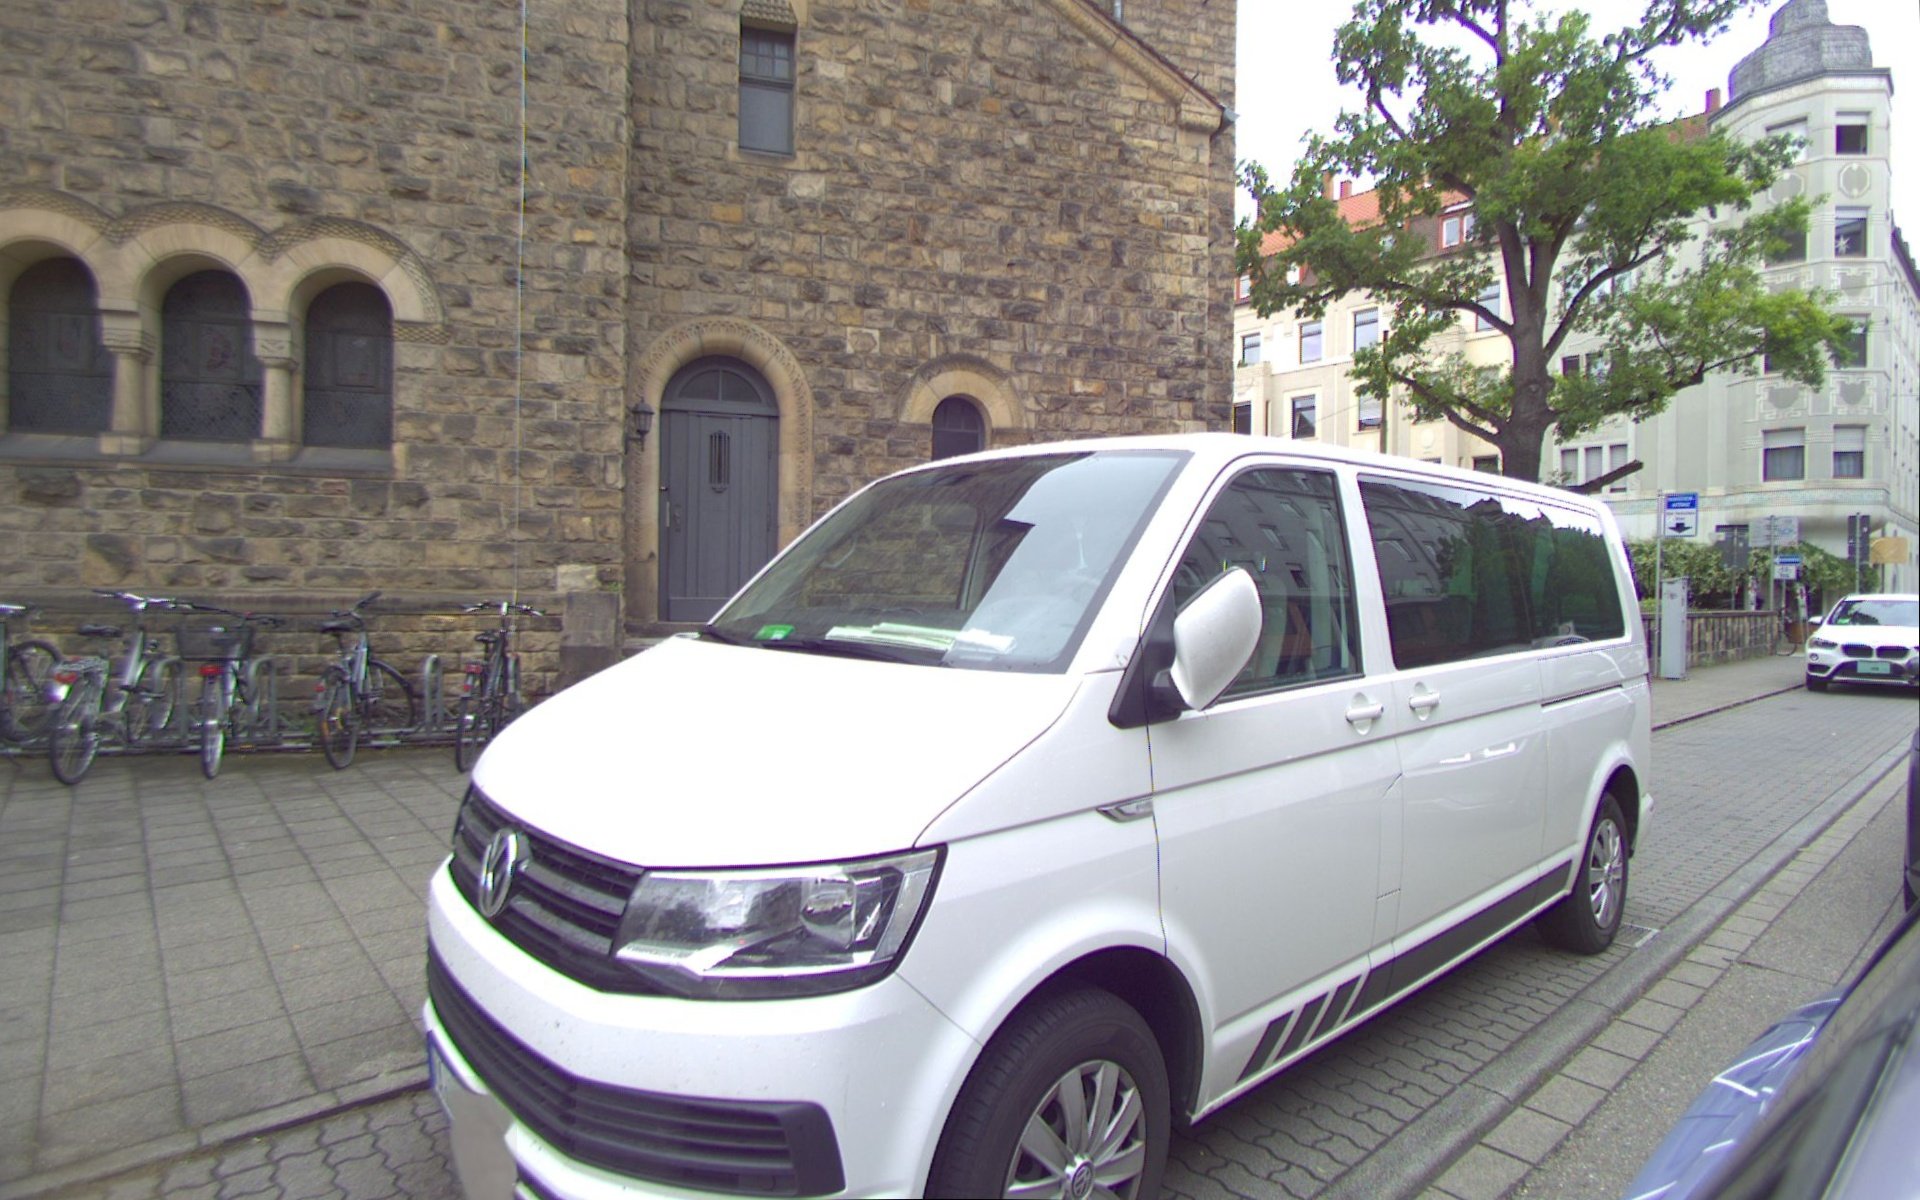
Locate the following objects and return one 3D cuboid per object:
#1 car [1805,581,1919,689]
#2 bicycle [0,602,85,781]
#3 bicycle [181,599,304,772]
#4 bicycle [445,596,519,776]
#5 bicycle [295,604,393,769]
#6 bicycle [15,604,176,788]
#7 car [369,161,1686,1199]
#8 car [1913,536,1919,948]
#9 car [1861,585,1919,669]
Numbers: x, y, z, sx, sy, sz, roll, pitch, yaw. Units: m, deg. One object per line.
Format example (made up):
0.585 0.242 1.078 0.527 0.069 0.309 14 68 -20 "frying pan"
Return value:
15.376 0.515 16.526 3.930 1.585 1.818 0 1 -41 "car"
-6.108 0.563 6.437 0.304 1.073 1.386 1 0 -18 "bicycle"
-4.995 0.543 7.106 0.304 1.073 1.386 1 0 -18 "bicycle"
-3.409 0.555 7.271 0.304 1.161 1.346 1 0 -18 "bicycle"
-4.465 0.576 7.391 0.304 1.073 1.346 1 0 -18 "bicycle"
-5.688 0.576 6.723 0.304 1.073 1.386 1 0 -18 "bicycle"
0.920 0.390 3.706 5.075 1.944 1.807 0 0 -42 "car"
6.034 0.603 4.799 3.930 1.706 1.818 0 0 -41 "car"
19.773 0.522 20.470 3.930 1.585 1.818 0 1 -41 "car"
